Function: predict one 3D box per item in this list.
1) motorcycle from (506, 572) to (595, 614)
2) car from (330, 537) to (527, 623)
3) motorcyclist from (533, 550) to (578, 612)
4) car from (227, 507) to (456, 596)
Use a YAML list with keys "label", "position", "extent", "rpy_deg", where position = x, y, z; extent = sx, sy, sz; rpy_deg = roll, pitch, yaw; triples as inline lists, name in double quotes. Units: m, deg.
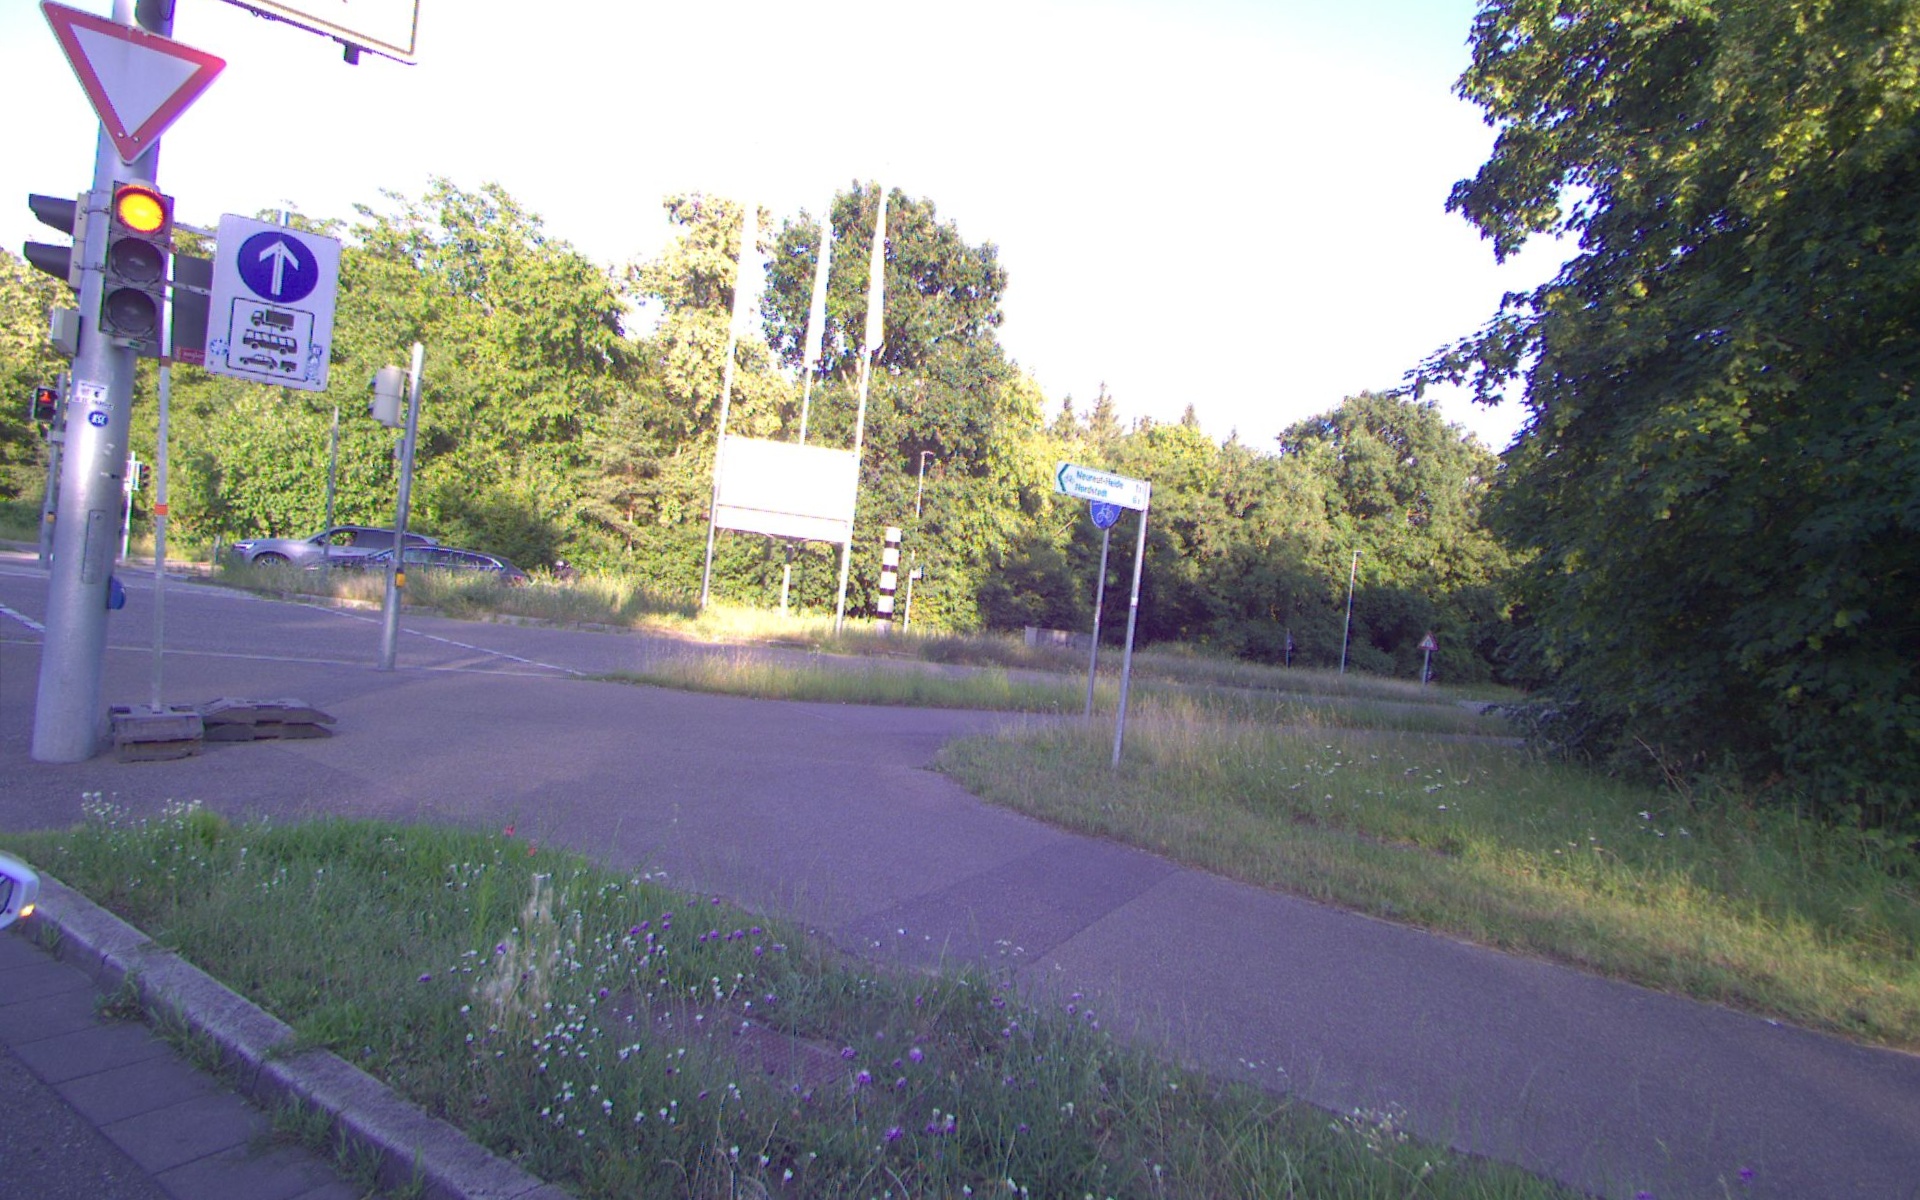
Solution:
- label: "motorcycle"
  position: [-11.368, -0.188, 27.957]
  extent: [2.133, 0.921, 0.655]
  rpy_deg: [7, 0, -37]
- label: "car"
  position: [-12.540, -0.452, 23.813]
  extent: [3.840, 1.507, 1.754]
  rpy_deg: [7, -1, -36]
- label: "motorcyclist"
  position: [-11.268, -0.524, 27.991]
  extent: [0.881, 1.614, 0.648]
  rpy_deg: [6, 0, -37]
- label: "car"
  position: [-15.918, -1.208, 26.003]
  extent: [4.790, 1.618, 1.980]
  rpy_deg: [7, 0, -37]
